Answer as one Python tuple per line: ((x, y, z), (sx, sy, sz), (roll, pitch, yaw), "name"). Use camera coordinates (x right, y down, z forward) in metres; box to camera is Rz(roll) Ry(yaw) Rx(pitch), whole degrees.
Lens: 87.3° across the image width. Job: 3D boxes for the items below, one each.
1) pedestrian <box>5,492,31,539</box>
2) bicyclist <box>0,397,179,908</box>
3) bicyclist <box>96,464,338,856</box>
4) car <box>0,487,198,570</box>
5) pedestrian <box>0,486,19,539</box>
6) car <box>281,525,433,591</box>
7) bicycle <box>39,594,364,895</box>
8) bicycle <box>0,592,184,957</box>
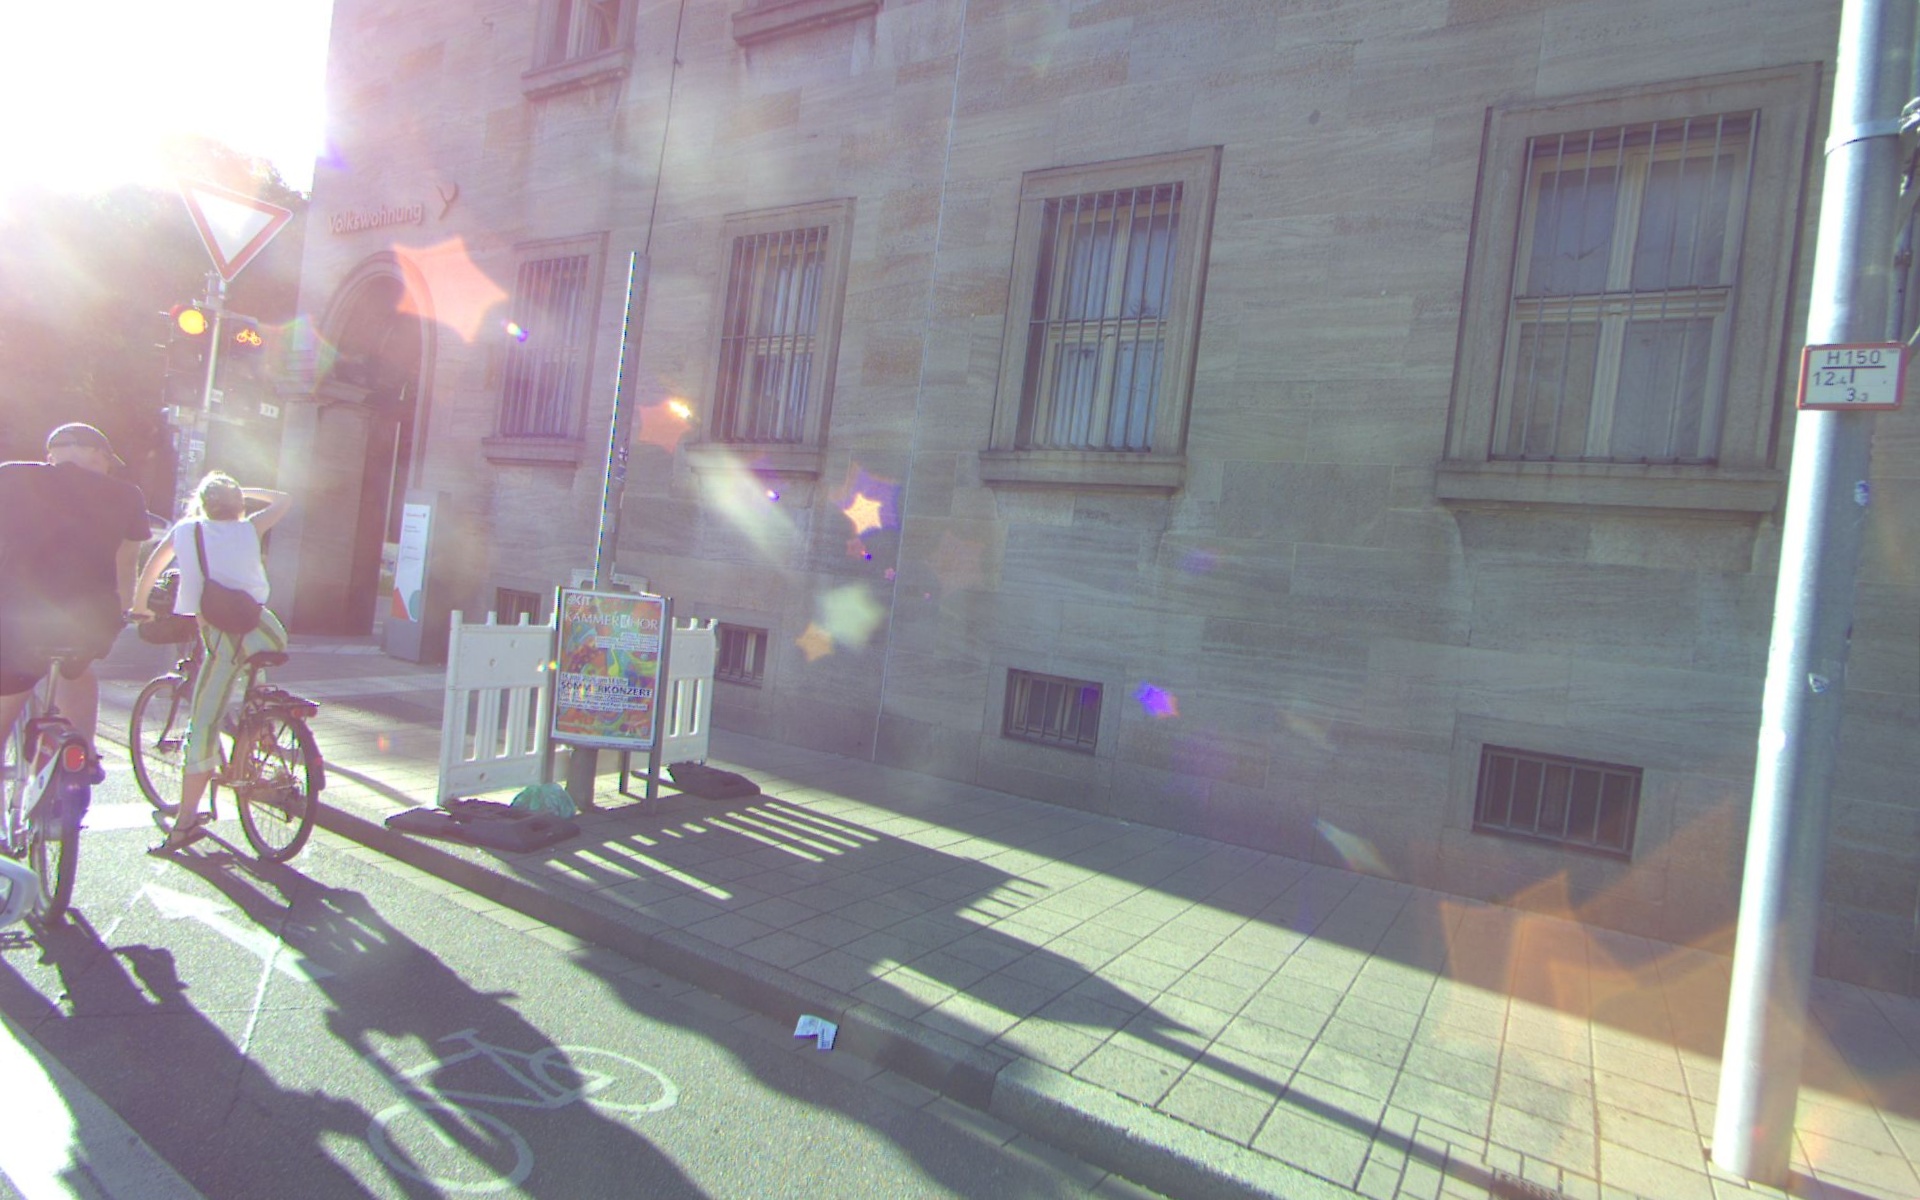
((-31.927, -2.863, 34.092), (0.430, 1.522, 0.440), (7, 1, 33), "pedestrian")
((-3.551, 0.194, 3.856), (0.541, 1.820, 0.559), (7, -1, 33), "bicyclist")
((-3.538, 0.266, 4.805), (0.629, 1.711, 0.558), (7, -1, 30), "bicyclist")
((-23.374, -1.892, 27.198), (1.622, 1.630, 3.999), (7, -1, 31), "car")
((-31.671, -2.917, 33.233), (0.506, 1.683, 0.583), (8, 0, 34), "pedestrian")
((-19.697, -1.331, 33.024), (1.623, 1.630, 3.854), (7, -1, 31), "car")
((-3.684, 0.622, 4.843), (1.721, 1.090, 0.535), (7, -1, 31), "bicycle")
((-3.740, 0.575, 3.926), (1.700, 1.090, 0.516), (7, -1, 34), "bicycle")
